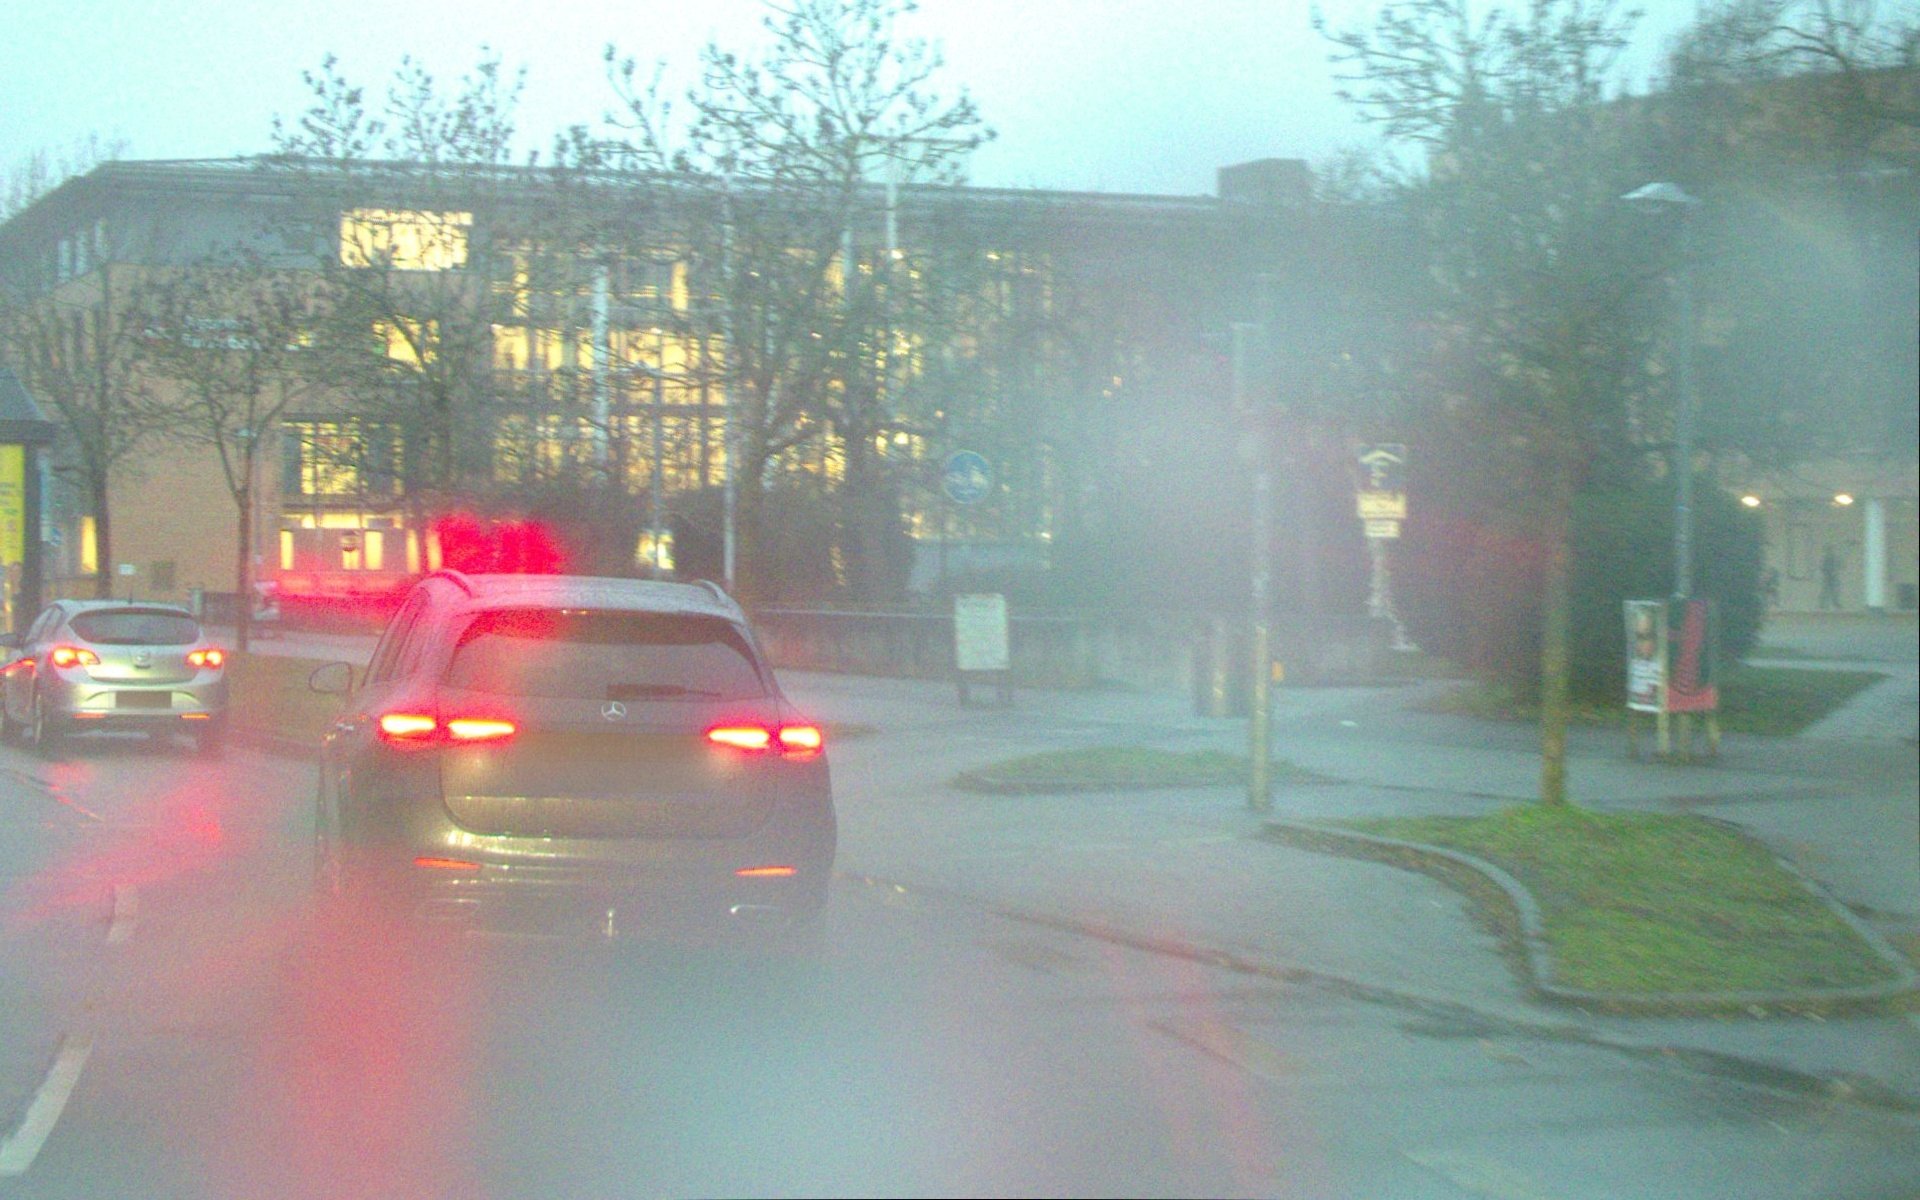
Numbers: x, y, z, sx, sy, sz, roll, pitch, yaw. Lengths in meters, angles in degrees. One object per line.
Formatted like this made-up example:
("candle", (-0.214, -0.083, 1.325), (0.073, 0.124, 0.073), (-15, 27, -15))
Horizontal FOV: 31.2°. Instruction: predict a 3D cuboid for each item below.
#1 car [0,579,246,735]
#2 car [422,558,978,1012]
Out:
("car", (-8.419, 0.516, 34.091), (1.993, 1.403, 4.001), (-1, 1, -21))
("car", (-1.128, 0.634, 14.365), (1.990, 1.610, 4.001), (0, 1, -6))
